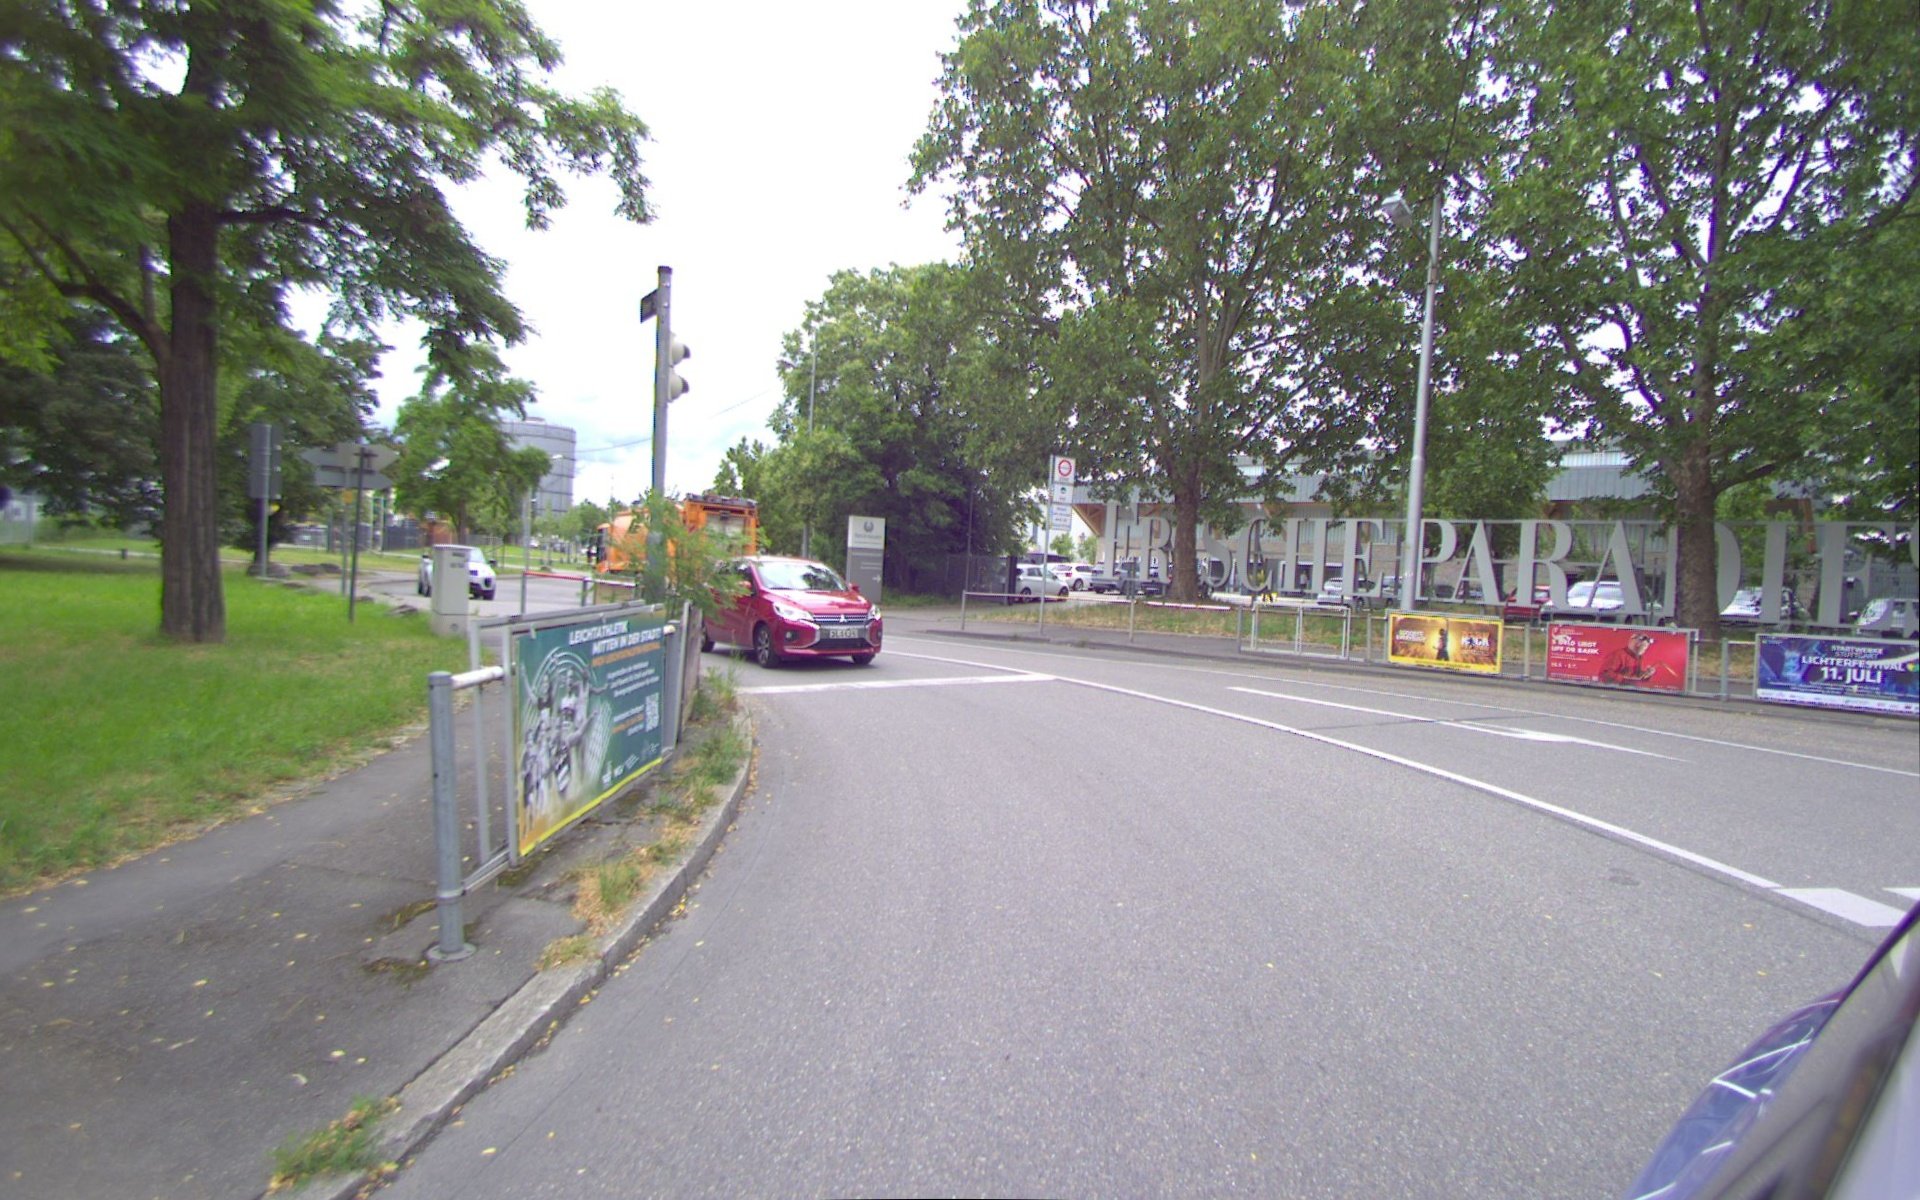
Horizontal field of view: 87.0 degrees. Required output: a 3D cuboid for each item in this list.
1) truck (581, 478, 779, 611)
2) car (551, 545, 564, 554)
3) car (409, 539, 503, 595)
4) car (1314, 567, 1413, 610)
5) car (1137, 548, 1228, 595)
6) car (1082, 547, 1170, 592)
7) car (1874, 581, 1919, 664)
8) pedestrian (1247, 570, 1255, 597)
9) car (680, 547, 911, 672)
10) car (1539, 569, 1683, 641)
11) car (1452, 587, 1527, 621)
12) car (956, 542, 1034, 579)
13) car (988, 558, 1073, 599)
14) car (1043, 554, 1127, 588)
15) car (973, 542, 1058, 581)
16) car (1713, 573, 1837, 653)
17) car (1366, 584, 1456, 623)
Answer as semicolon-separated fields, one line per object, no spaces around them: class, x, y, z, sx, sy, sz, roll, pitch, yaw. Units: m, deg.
truck;-9.371;-1.705;32.638;2.744;3.570;10.424;2;1;-35
car;-76.191;-9.624;191.443;2.005;1.555;3.950;4;1;-26
car;-15.405;-1.053;30.811;2.009;1.554;3.944;-2;4;-35
car;17.060;-0.466;42.703;4.560;1.580;1.997;2;2;-42
car;10.929;-1.396;49.512;4.560;2.038;1.997;2;2;-42
car;8.543;-1.542;51.835;4.560;2.038;1.997;2;2;-42
car;20.886;0.536;21.638;3.932;1.633;1.589;2;2;-43
pedestrian;19.262;-1.091;66.993;0.338;1.787;0.434;4;0;25
car;-2.473;0.036;14.467;1.701;1.483;3.835;0;3;-36
car;17.036;0.150;26.404;4.445;1.633;1.882;3;2;-41
car;28.066;0.207;53.581;4.560;1.580;1.997;2;2;-42
car;2.196;-2.426;62.673;4.740;2.038;1.997;2;2;-42
car;3.010;-0.900;42.791;1.477;1.523;3.670;5;2;44
car;6.779;-1.567;54.655;4.560;1.577;1.997;2;2;-42
car;3.357;-2.271;60.386;5.014;2.023;1.997;2;2;-42
car;19.096;0.326;23.654;4.244;1.633;1.589;2;2;-43
car;20.516;0.179;45.941;4.560;1.580;1.997;2;2;-42
